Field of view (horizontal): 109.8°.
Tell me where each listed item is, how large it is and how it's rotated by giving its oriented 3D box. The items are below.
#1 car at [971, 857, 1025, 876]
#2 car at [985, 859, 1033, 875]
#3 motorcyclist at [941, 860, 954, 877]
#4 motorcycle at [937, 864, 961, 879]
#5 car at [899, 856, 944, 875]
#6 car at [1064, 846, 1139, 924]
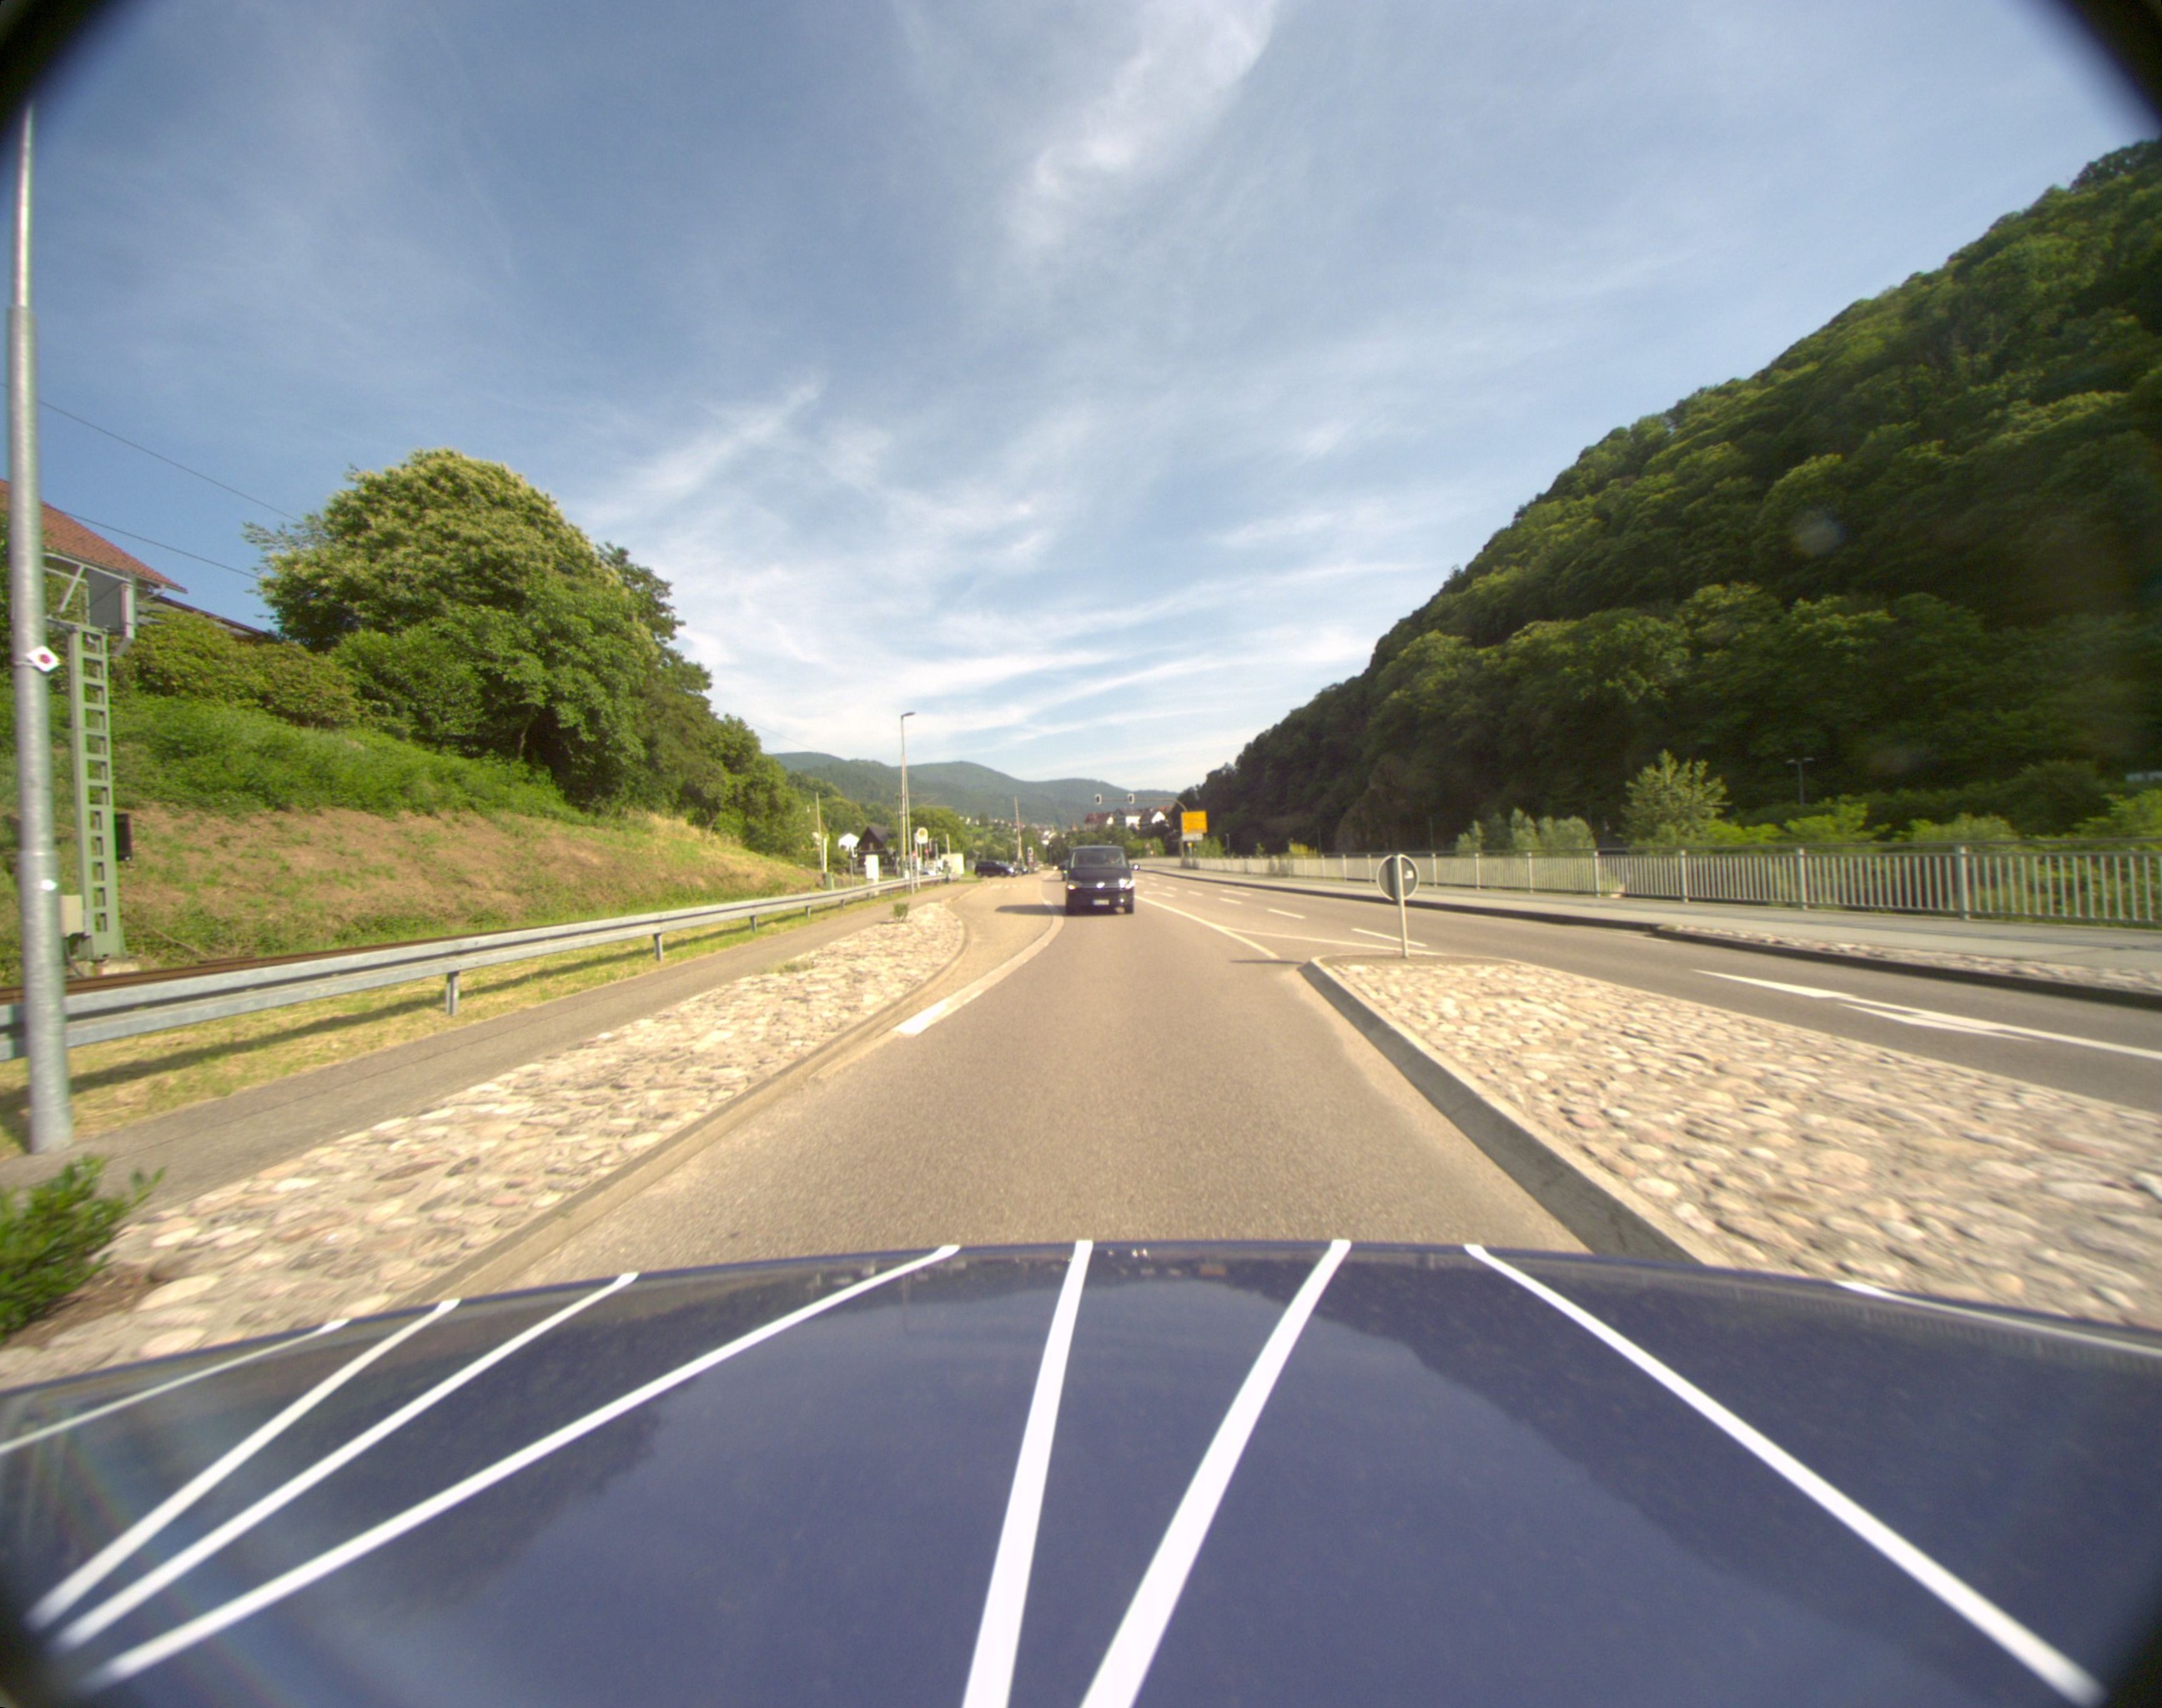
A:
[{"bbox_3d":[-7.828,1.163,71.621,4.729,1.649,1.935,-2,-3,30],"label":"car"},{"bbox_3d":[-7.350,1.338,78.166,4.738,1.461,1.842,-1,0,1],"label":"car"},{"bbox_3d":[-12.952,1.418,73.735,0.908,1.587,0.766,-4,0,15],"label":"motorcyclist"},{"bbox_3d":[-12.820,1.704,73.714,2.096,1.247,0.800,-4,0,16],"label":"motorcycle"},{"bbox_3d":[-16.455,1.208,78.500,4.120,1.677,1.836,-4,0,11],"label":"car"},{"bbox_3d":[0.530,0.793,21.347,1.865,1.936,4.638,0,0,1],"label":"car"}]
